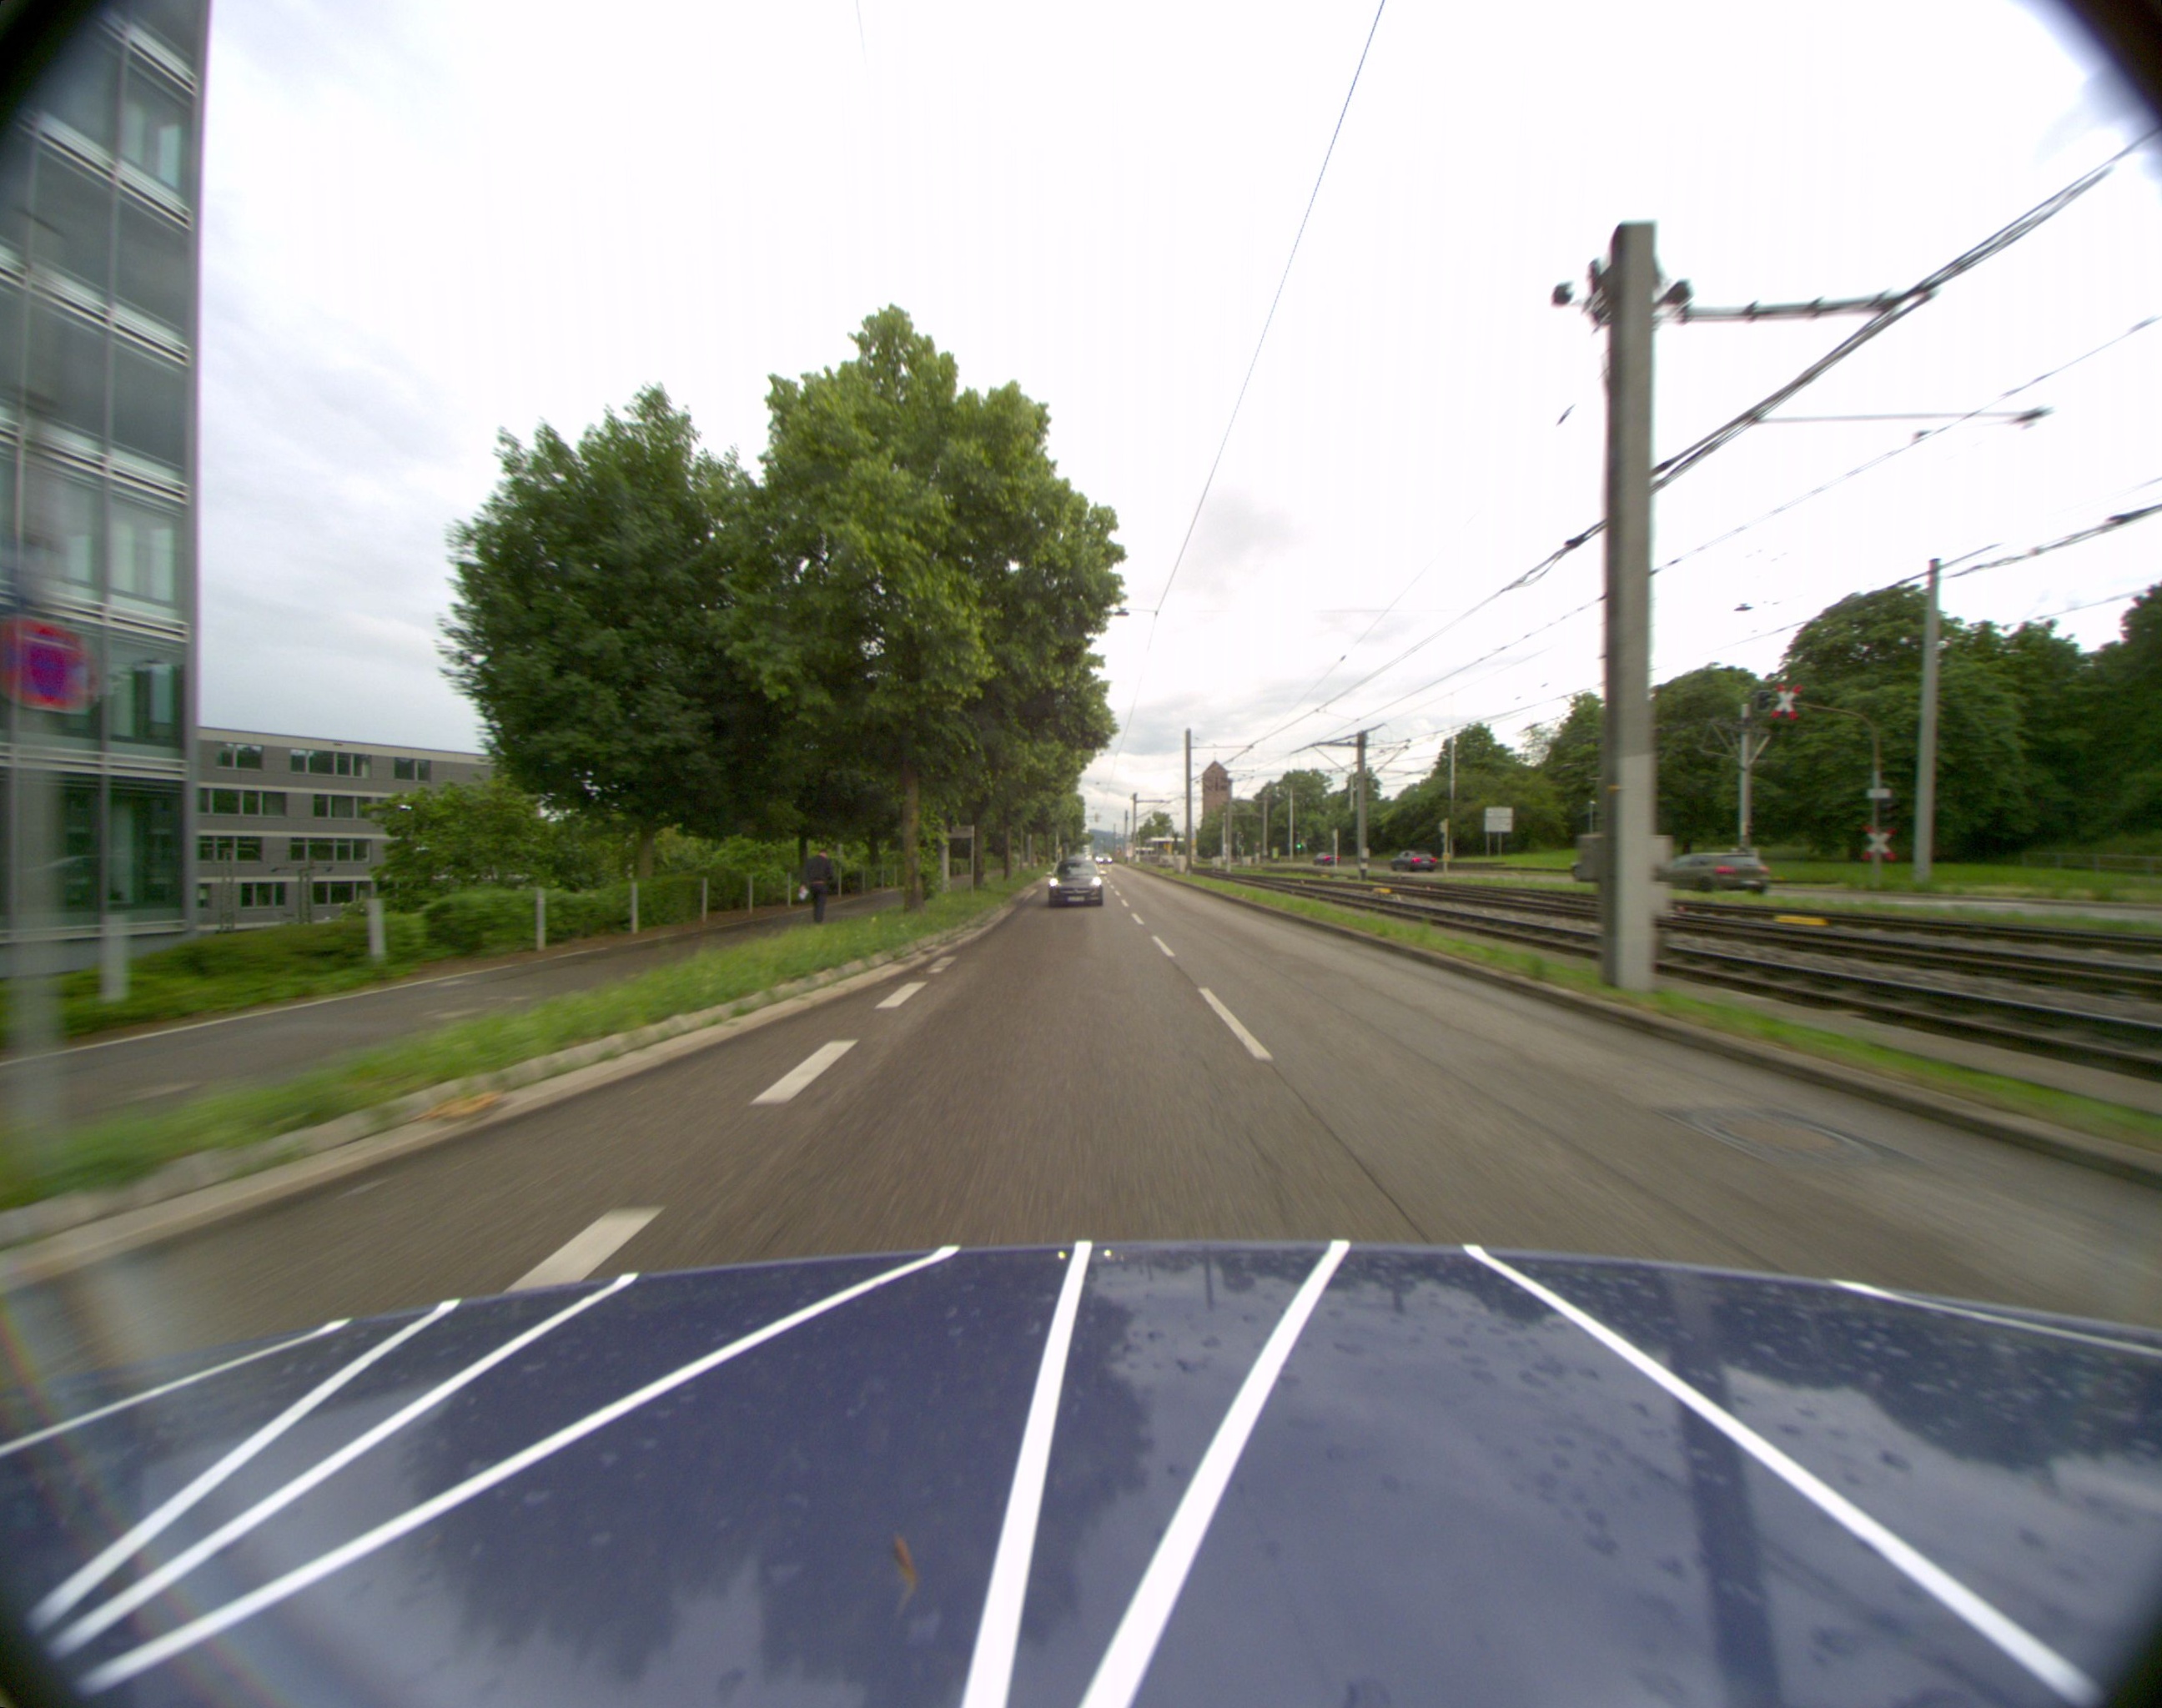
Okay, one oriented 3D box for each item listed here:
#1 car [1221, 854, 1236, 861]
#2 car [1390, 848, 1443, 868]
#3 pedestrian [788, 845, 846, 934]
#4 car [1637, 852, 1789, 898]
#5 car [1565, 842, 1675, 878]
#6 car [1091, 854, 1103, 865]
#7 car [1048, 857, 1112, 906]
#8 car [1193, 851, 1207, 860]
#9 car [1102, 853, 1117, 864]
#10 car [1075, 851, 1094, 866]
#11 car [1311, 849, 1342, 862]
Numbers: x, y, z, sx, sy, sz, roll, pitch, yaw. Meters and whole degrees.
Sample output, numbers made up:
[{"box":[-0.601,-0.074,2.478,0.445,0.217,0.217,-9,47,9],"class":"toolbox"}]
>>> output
[{"box":[27.389,0.669,141.180,1.932,1.254,4.473,0,0,0],"class":"car"},{"box":[26.657,0.299,60.618,2.094,1.580,5.159,0,0,2],"class":"car"},{"box":[-5.489,0.723,15.851,0.828,1.787,0.867,-1,1,1],"class":"pedestrian"},{"box":[21.951,0.664,26.655,1.895,1.478,4.309,0,0,3],"class":"car"},{"box":[25.481,0.261,36.145,1.952,1.586,4.848,0,0,3],"class":"car"},{"box":[2.541,0.814,119.736,1.812,1.566,3.971,-1,1,0],"class":"car"},{"box":[-0.001,0.852,25.168,1.899,1.432,4.474,-1,-1,1],"class":"car"},{"box":[24.606,0.275,156.990,2.088,1.729,4.862,0,0,0],"class":"car"},{"box":[3.778,0.640,102.092,1.899,1.432,4.246,-1,-1,1],"class":"car"},{"box":[0.396,0.516,84.158,1.998,1.608,4.000,-1,0,0],"class":"car"},{"box":[26.690,0.135,82.654,1.932,1.438,4.682,0,0,1],"class":"car"}]
